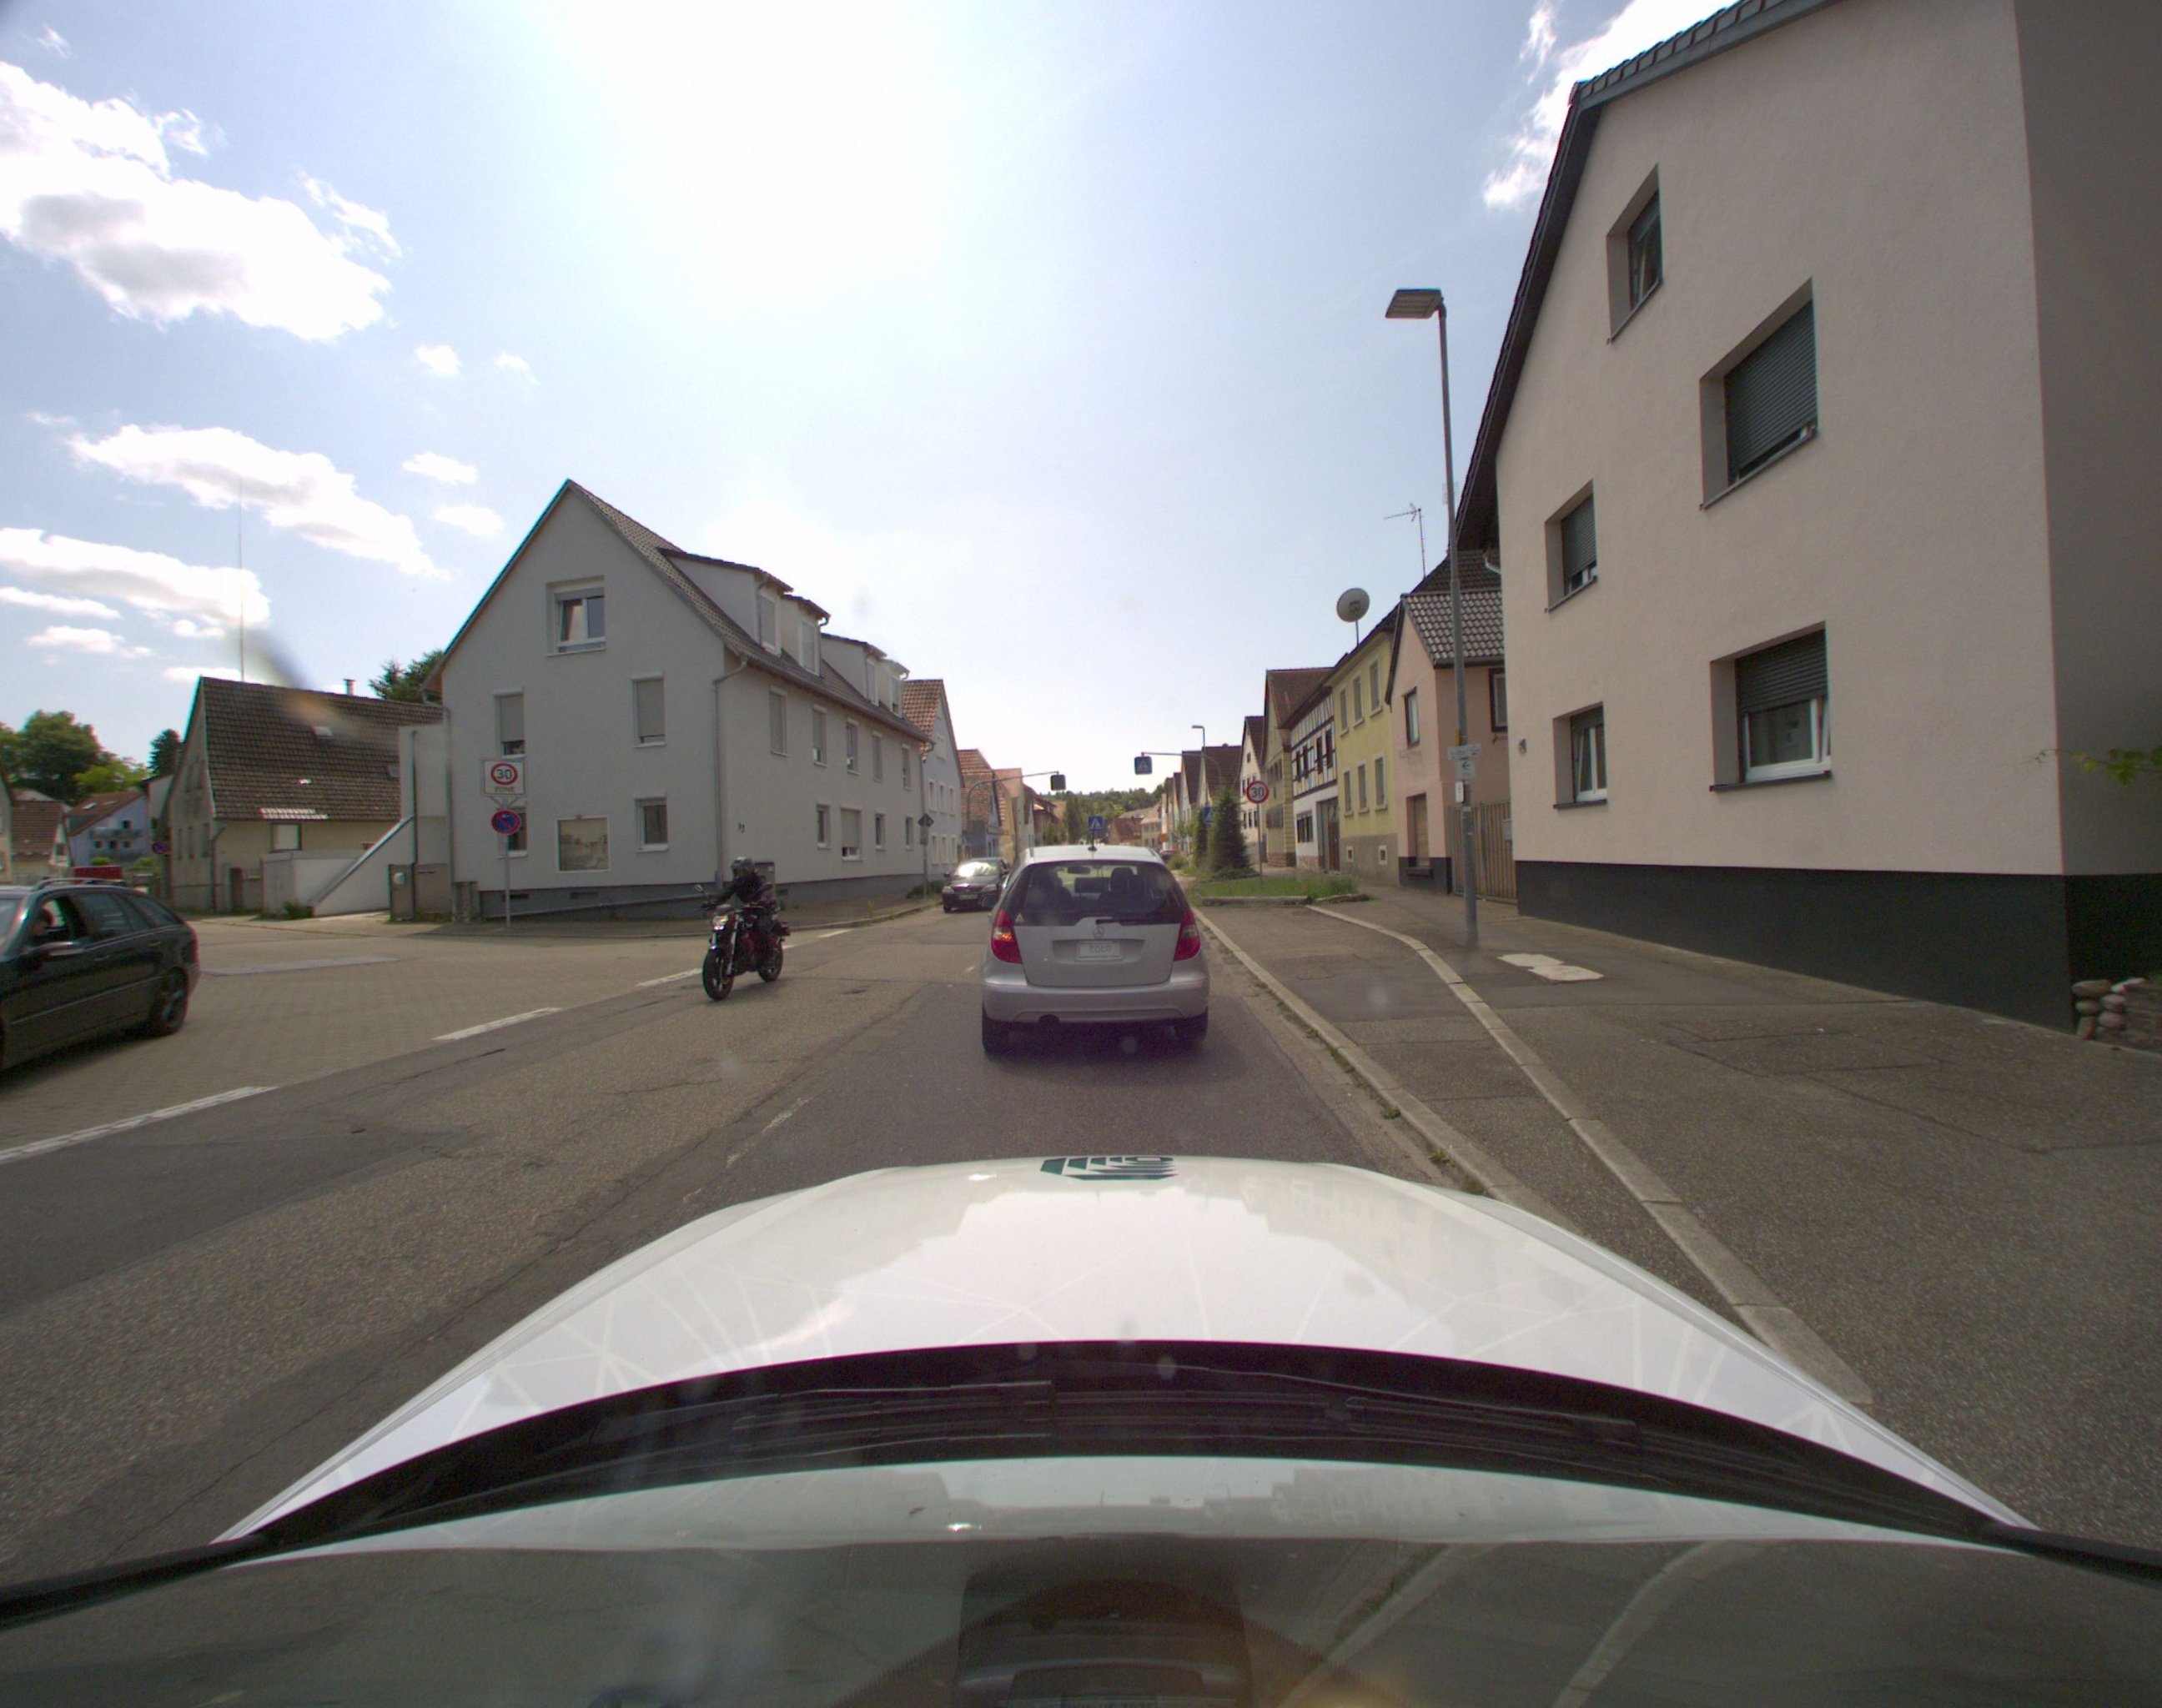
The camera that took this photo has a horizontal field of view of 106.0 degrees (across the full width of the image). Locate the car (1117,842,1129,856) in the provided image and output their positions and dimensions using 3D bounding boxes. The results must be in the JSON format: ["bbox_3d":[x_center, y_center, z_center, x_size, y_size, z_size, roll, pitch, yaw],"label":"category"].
[{"bbox_3d":[6.949,-0.815,135.004,1.986,2.014,4.002,-1,-2,2],"label":"car"}]

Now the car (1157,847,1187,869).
[{"bbox_3d":[6.936,0.324,62.295,1.985,1.508,4.002,-1,-2,2],"label":"car"}]

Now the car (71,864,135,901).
[{"bbox_3d":[-42.048,1.241,35.004,3.431,1.530,1.500,-3,-2,36],"label":"car"}]

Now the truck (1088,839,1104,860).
[{"bbox_3d":[2.095,-0.561,109.860,1.986,2.537,6.741,-1,-2,2],"label":"truck"}]

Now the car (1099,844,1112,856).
[{"bbox_3d":[4.217,-0.697,141.485,1.985,2.014,4.004,-1,-2,4],"label":"car"}]

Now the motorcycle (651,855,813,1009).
[{"bbox_3d":[-3.954,0.814,9.448,0.876,1.561,1.969,-1,0,4],"label":"motorcycle"}]

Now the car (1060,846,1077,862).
[{"bbox_3d":[-1.416,0.012,91.919,1.660,1.596,4.002,-1,-2,3],"label":"car"}]

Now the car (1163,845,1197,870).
[{"bbox_3d":[6.747,0.266,55.624,1.985,1.508,4.002,-1,-2,2],"label":"car"}]

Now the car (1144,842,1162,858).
[{"bbox_3d":[9.353,-0.508,105.761,1.986,1.816,4.001,-1,-2,1],"label":"car"}]

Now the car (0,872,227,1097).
[{"bbox_3d":[-8.292,0.875,5.856,1.820,1.412,4.589,0,-2,-31],"label":"car"}]

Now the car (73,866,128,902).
[{"bbox_3d":[-46.309,1.423,38.445,3.431,1.635,1.406,-3,-2,36],"label":"car"}]

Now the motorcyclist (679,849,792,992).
[{"bbox_3d":[-3.972,0.737,9.428,0.893,1.554,0.807,-1,0,3],"label":"motorcyclist"}]

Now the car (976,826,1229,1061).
[{"bbox_3d":[0.024,0.639,7.638,1.807,1.643,3.723,0,-1,-4],"label":"car"}]

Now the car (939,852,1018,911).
[{"bbox_3d":[-2.843,0.774,23.246,1.493,1.540,3.860,-1,-2,4],"label":"car"}]

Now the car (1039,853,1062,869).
[{"bbox_3d":[-2.763,0.607,73.292,1.989,1.321,3.704,-1,-2,-3],"label":"car"}]

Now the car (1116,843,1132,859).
[{"bbox_3d":[5.532,-0.363,104.909,1.986,1.816,4.001,-1,-2,1],"label":"car"}]
